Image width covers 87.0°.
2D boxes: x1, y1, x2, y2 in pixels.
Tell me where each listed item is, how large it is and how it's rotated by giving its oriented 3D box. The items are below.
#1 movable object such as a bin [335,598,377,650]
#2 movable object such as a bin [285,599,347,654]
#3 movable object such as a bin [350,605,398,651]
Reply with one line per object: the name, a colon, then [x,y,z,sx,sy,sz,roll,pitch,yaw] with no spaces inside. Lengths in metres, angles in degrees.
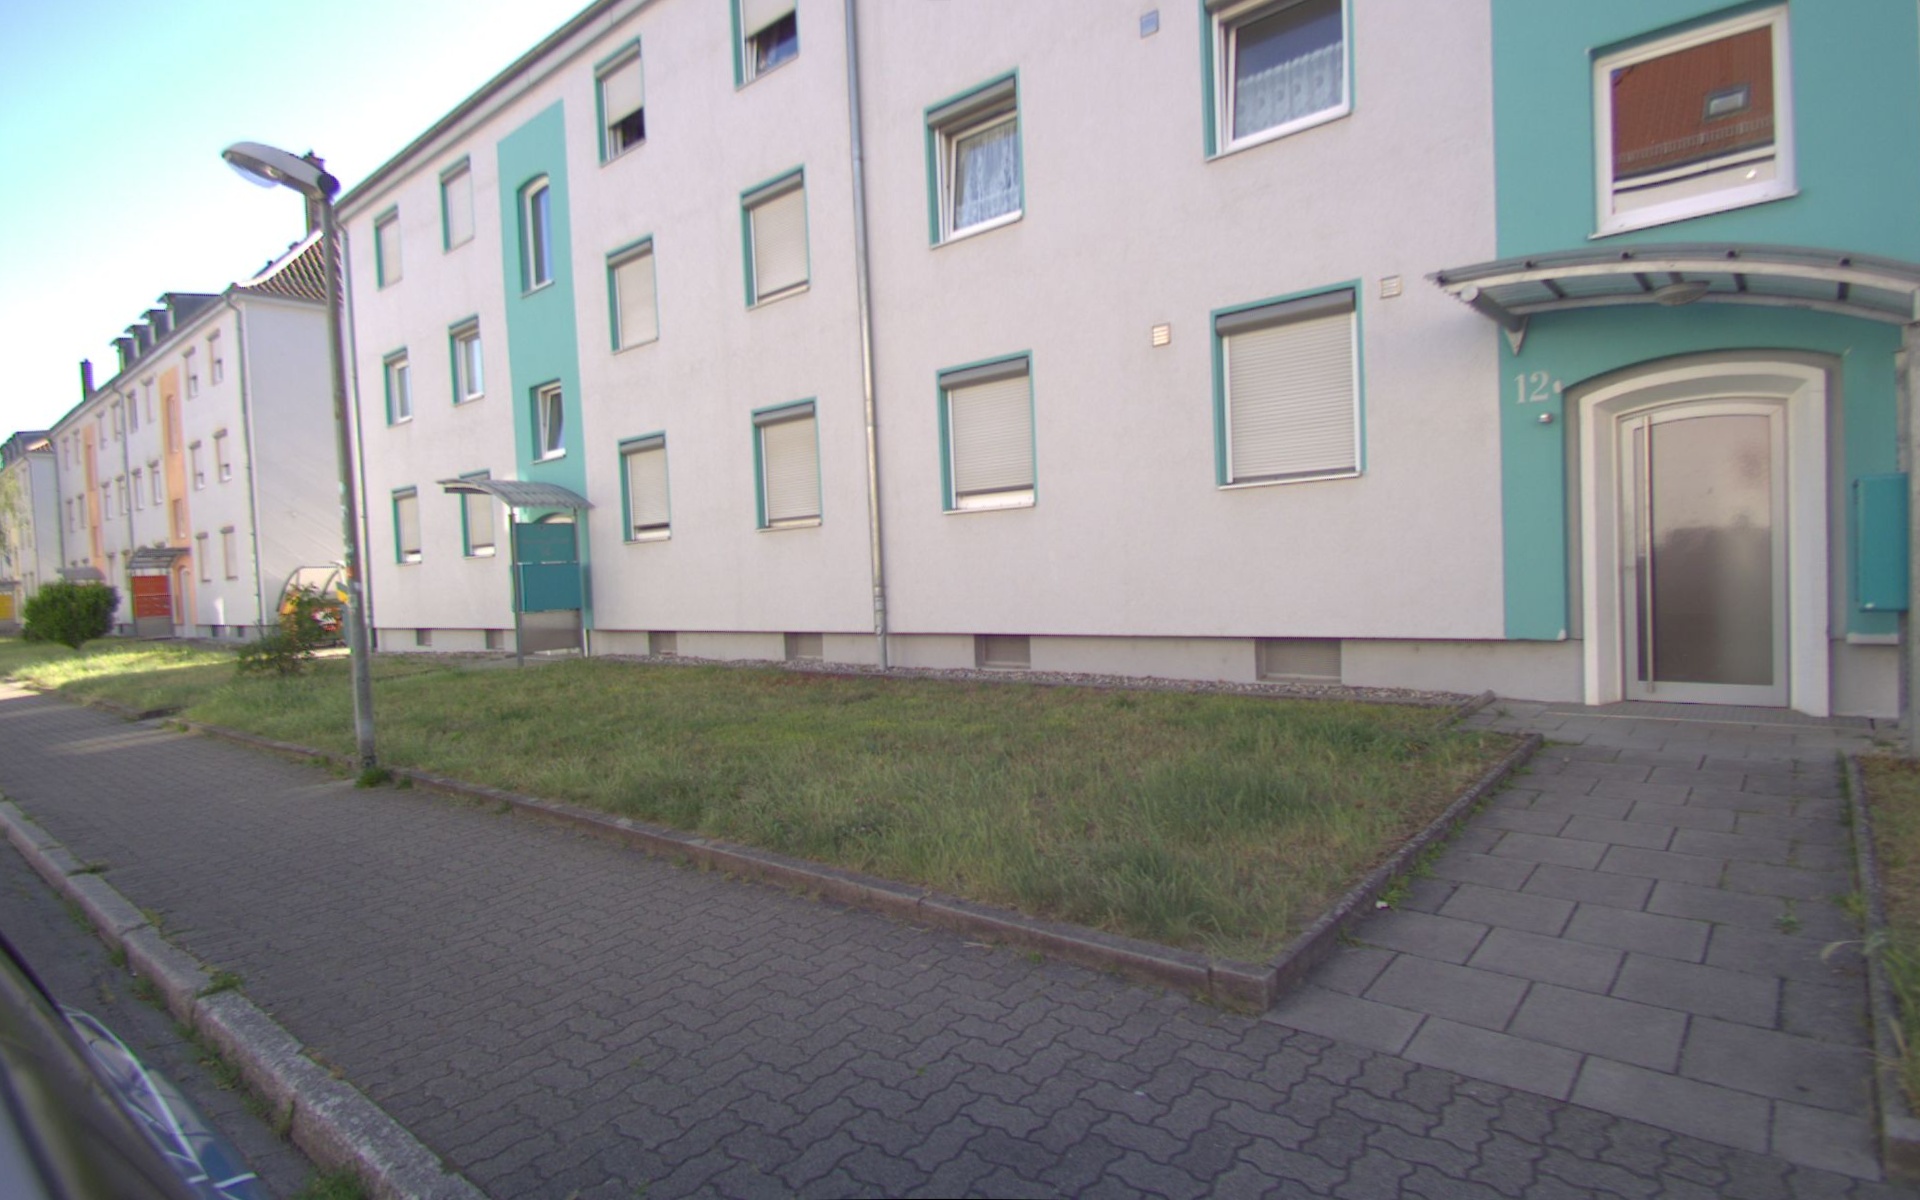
movable object such as a bin: [-16.817,0.667,28.167,0.762,1.403,0.744,-2,1,41]
movable object such as a bin: [-17.446,0.707,27.427,0.877,1.403,1.152,-2,1,40]
movable object such as a bin: [-13.893,0.664,23.990,0.762,1.020,0.744,-2,1,41]
